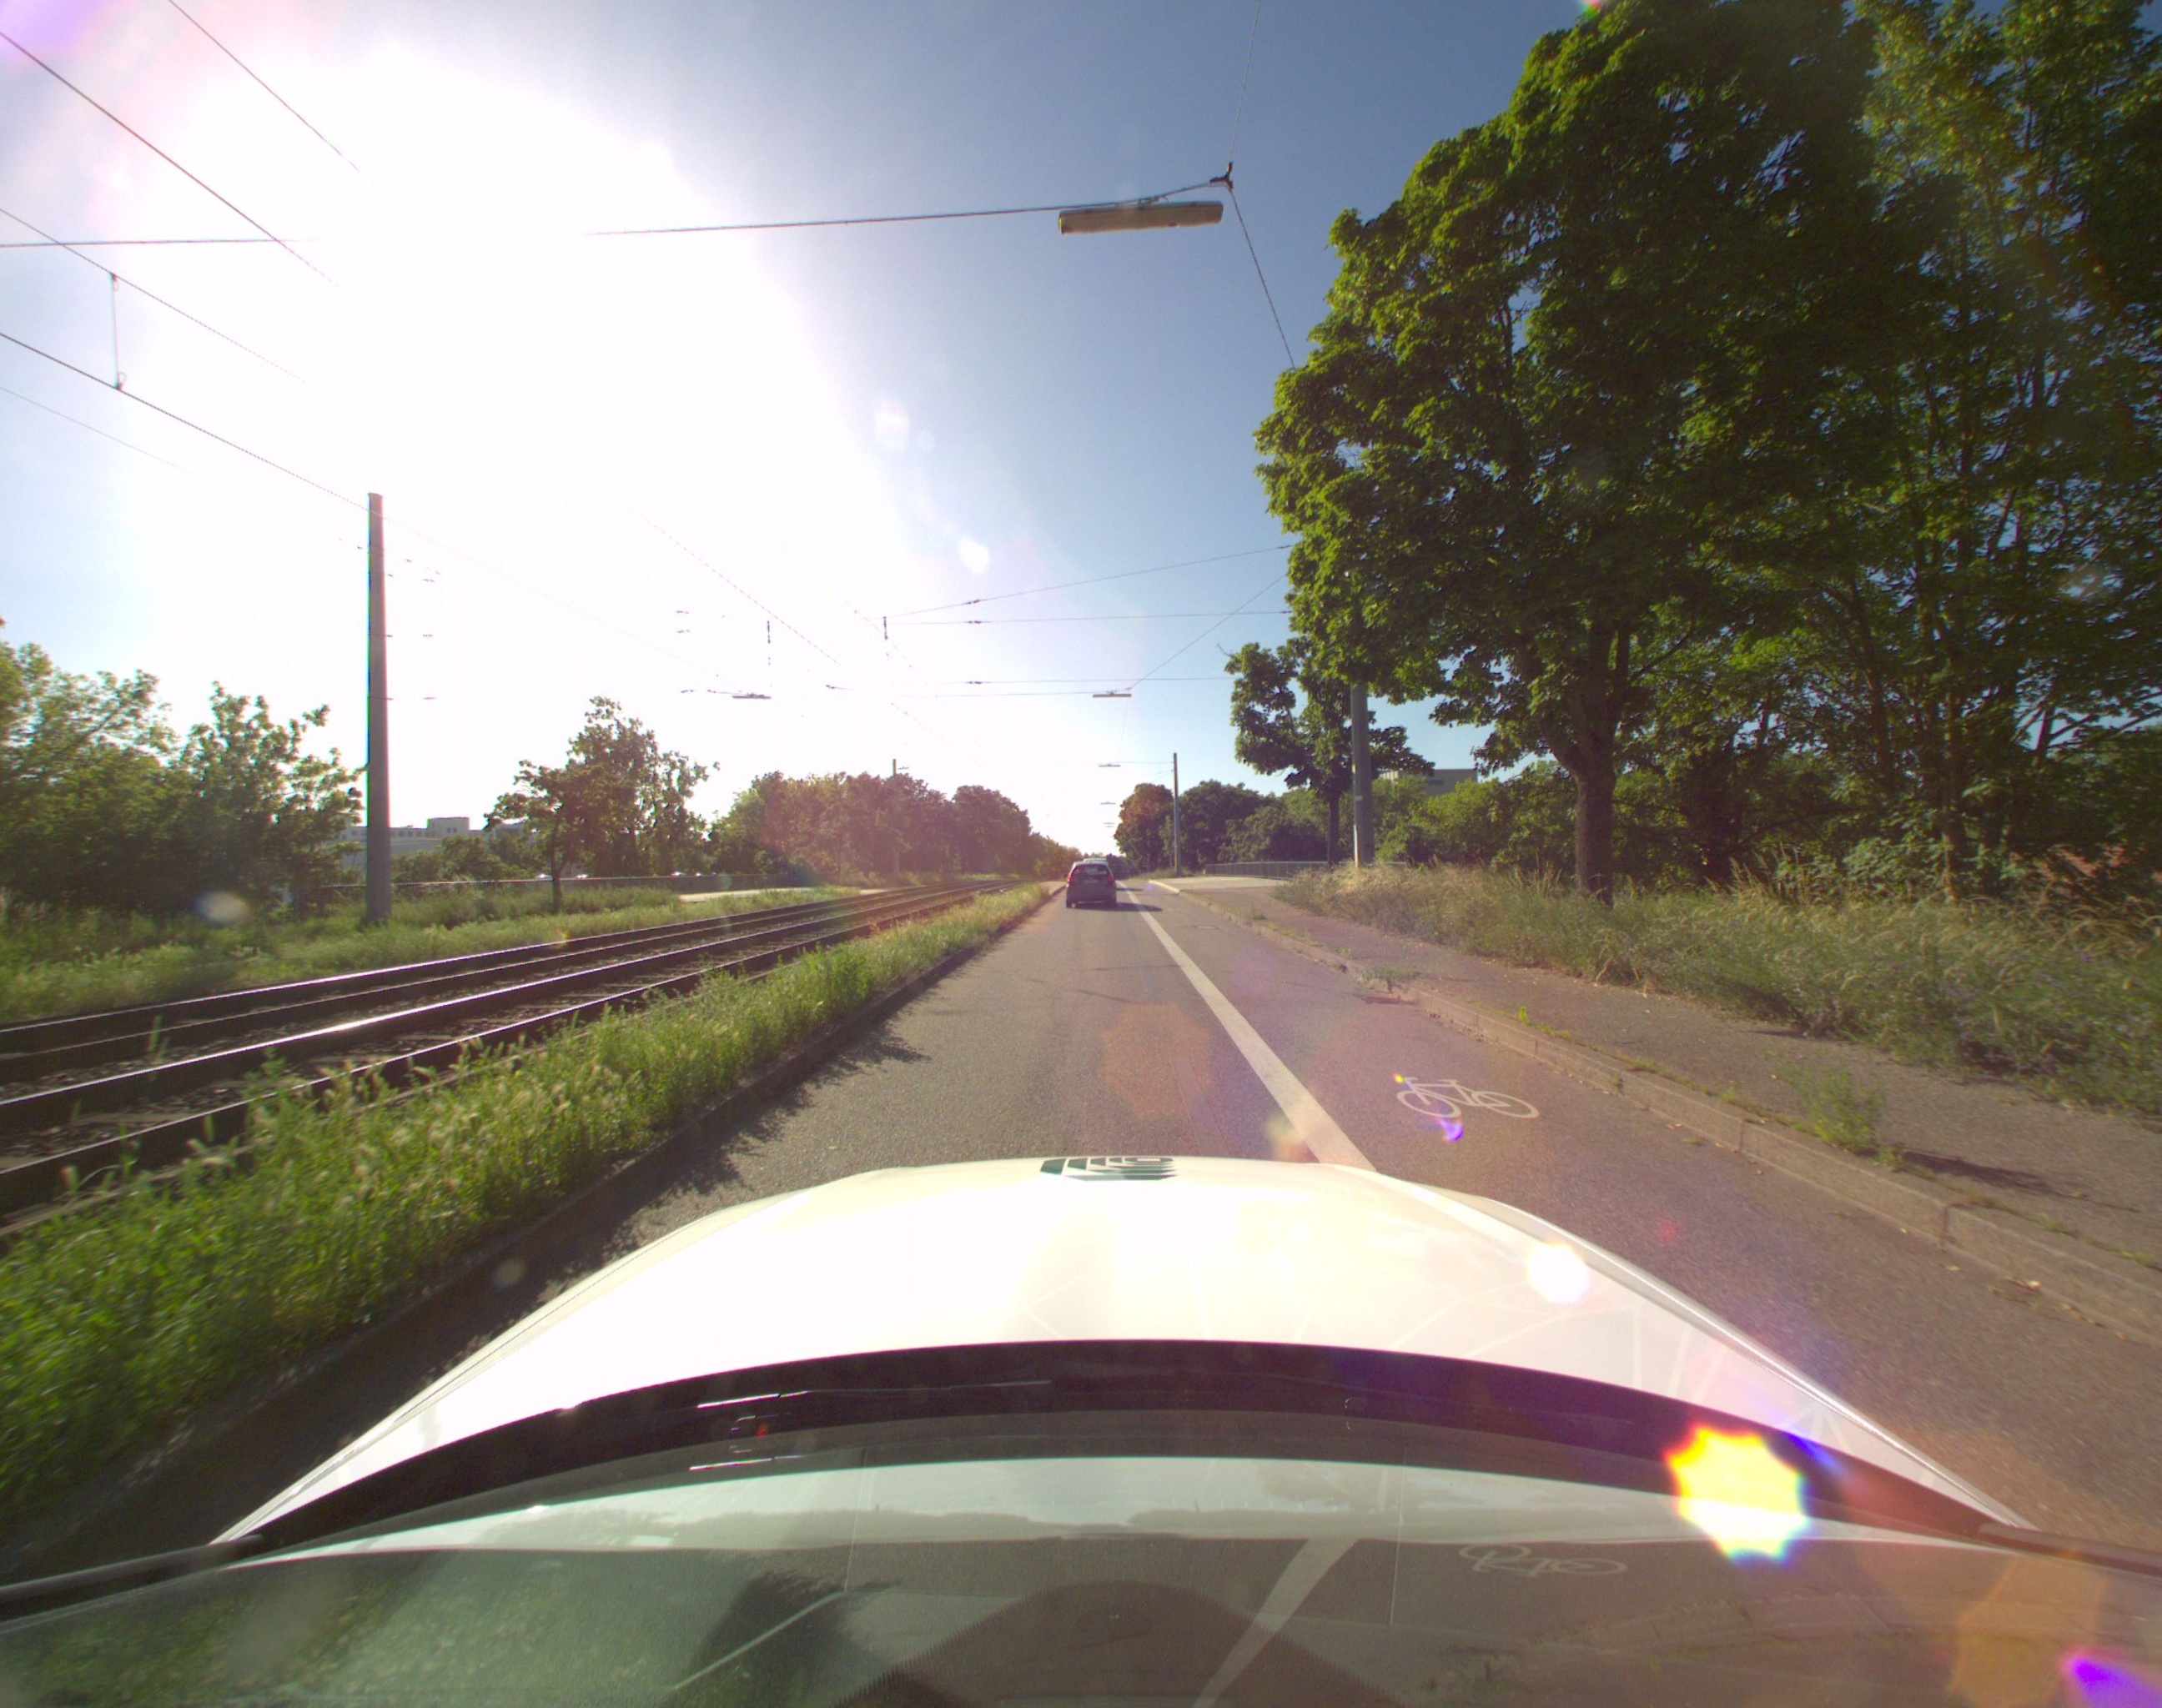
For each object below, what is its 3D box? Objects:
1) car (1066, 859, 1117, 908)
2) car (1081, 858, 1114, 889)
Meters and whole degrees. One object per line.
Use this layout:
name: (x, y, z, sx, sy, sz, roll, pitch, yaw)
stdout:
car: (0.391, 0.962, 27.985, 1.664, 1.507, 3.812, 0, 0, 2)
car: (0.917, 0.997, 42.875, 1.648, 1.507, 3.813, 0, 0, 2)
